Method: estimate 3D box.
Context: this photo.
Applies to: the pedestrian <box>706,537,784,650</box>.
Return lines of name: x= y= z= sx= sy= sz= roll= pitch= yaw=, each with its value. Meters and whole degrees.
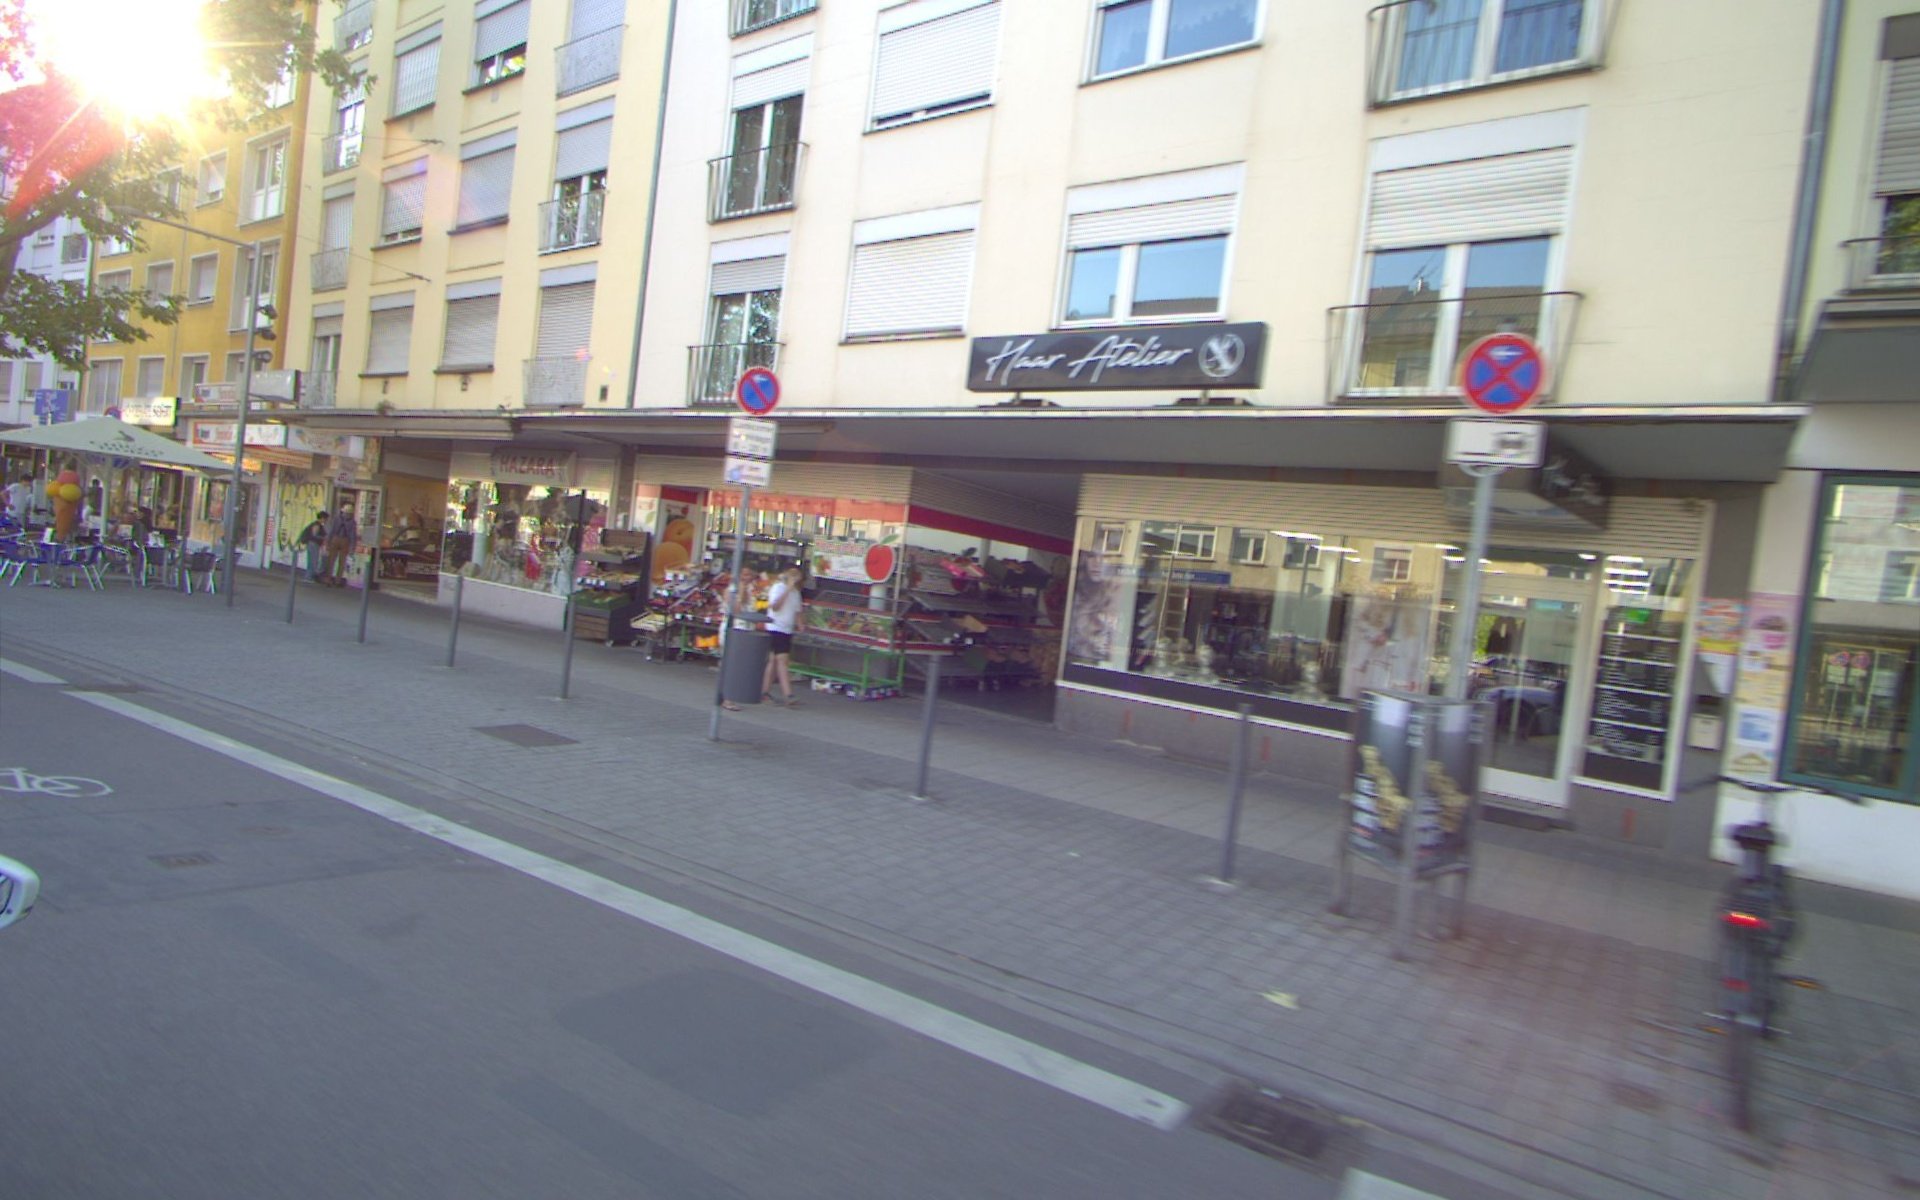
pedestrian: x=-3.645 y=-0.107 z=17.048 sx=0.866 sy=1.764 sz=0.685 roll=7 pitch=-1 yaw=32

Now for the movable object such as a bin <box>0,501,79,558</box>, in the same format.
movable object such as a bin: x=-20.277 y=-1.541 z=22.146 sx=0.824 sy=1.035 sz=0.930 roll=7 pitch=-1 yaw=7

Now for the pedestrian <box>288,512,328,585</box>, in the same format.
pedestrian: x=-14.873 y=-1.166 z=22.956 sx=0.620 sy=1.566 sz=0.632 roll=6 pitch=1 yaw=-30

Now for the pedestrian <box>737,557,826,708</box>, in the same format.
pedestrian: x=-2.008 y=0.359 z=11.348 sx=0.617 sy=1.608 sz=0.621 roll=7 pitch=3 yaw=34

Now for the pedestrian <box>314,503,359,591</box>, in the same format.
pedestrian: x=-13.605 y=-1.152 z=21.964 sx=0.629 sy=1.827 sz=0.623 roll=6 pitch=1 yaw=-25

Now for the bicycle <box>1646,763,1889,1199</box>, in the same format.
bicycle: x=3.238 y=1.326 z=3.988 sx=0.511 sy=1.120 sz=1.902 roll=7 pitch=3 yaw=42

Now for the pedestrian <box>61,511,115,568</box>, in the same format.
pedestrian: x=-19.056 y=-1.320 z=21.983 sx=0.738 sy=1.128 sz=0.584 roll=7 pitch=-1 yaw=29

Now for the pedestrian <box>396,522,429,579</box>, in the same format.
pedestrian: x=-13.348 y=-1.207 z=24.526 sx=0.499 sy=1.313 sz=0.426 roll=7 pitch=1 yaw=33

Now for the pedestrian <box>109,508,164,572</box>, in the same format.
pedestrian: x=-18.129 y=-1.316 z=22.152 sx=0.746 sy=1.290 sz=0.584 roll=7 pitch=-1 yaw=29

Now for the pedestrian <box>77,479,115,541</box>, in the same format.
pedestrian: x=-26.712 y=-2.772 z=31.095 sx=0.775 sy=1.816 sz=0.706 roll=7 pitch=4 yaw=34

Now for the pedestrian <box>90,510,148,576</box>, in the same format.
pedestrian: x=-17.197 y=-1.161 z=20.575 sx=0.732 sy=1.240 sz=0.606 roll=7 pitch=1 yaw=29

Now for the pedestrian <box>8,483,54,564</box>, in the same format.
pedestrian: x=-22.099 y=-1.813 z=23.933 sx=0.466 sy=1.855 sz=0.517 roll=6 pitch=1 yaw=7

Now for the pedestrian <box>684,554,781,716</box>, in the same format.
pedestrian: x=-2.397 y=0.356 z=10.600 sx=0.617 sy=1.608 sz=0.635 roll=7 pitch=3 yaw=34
